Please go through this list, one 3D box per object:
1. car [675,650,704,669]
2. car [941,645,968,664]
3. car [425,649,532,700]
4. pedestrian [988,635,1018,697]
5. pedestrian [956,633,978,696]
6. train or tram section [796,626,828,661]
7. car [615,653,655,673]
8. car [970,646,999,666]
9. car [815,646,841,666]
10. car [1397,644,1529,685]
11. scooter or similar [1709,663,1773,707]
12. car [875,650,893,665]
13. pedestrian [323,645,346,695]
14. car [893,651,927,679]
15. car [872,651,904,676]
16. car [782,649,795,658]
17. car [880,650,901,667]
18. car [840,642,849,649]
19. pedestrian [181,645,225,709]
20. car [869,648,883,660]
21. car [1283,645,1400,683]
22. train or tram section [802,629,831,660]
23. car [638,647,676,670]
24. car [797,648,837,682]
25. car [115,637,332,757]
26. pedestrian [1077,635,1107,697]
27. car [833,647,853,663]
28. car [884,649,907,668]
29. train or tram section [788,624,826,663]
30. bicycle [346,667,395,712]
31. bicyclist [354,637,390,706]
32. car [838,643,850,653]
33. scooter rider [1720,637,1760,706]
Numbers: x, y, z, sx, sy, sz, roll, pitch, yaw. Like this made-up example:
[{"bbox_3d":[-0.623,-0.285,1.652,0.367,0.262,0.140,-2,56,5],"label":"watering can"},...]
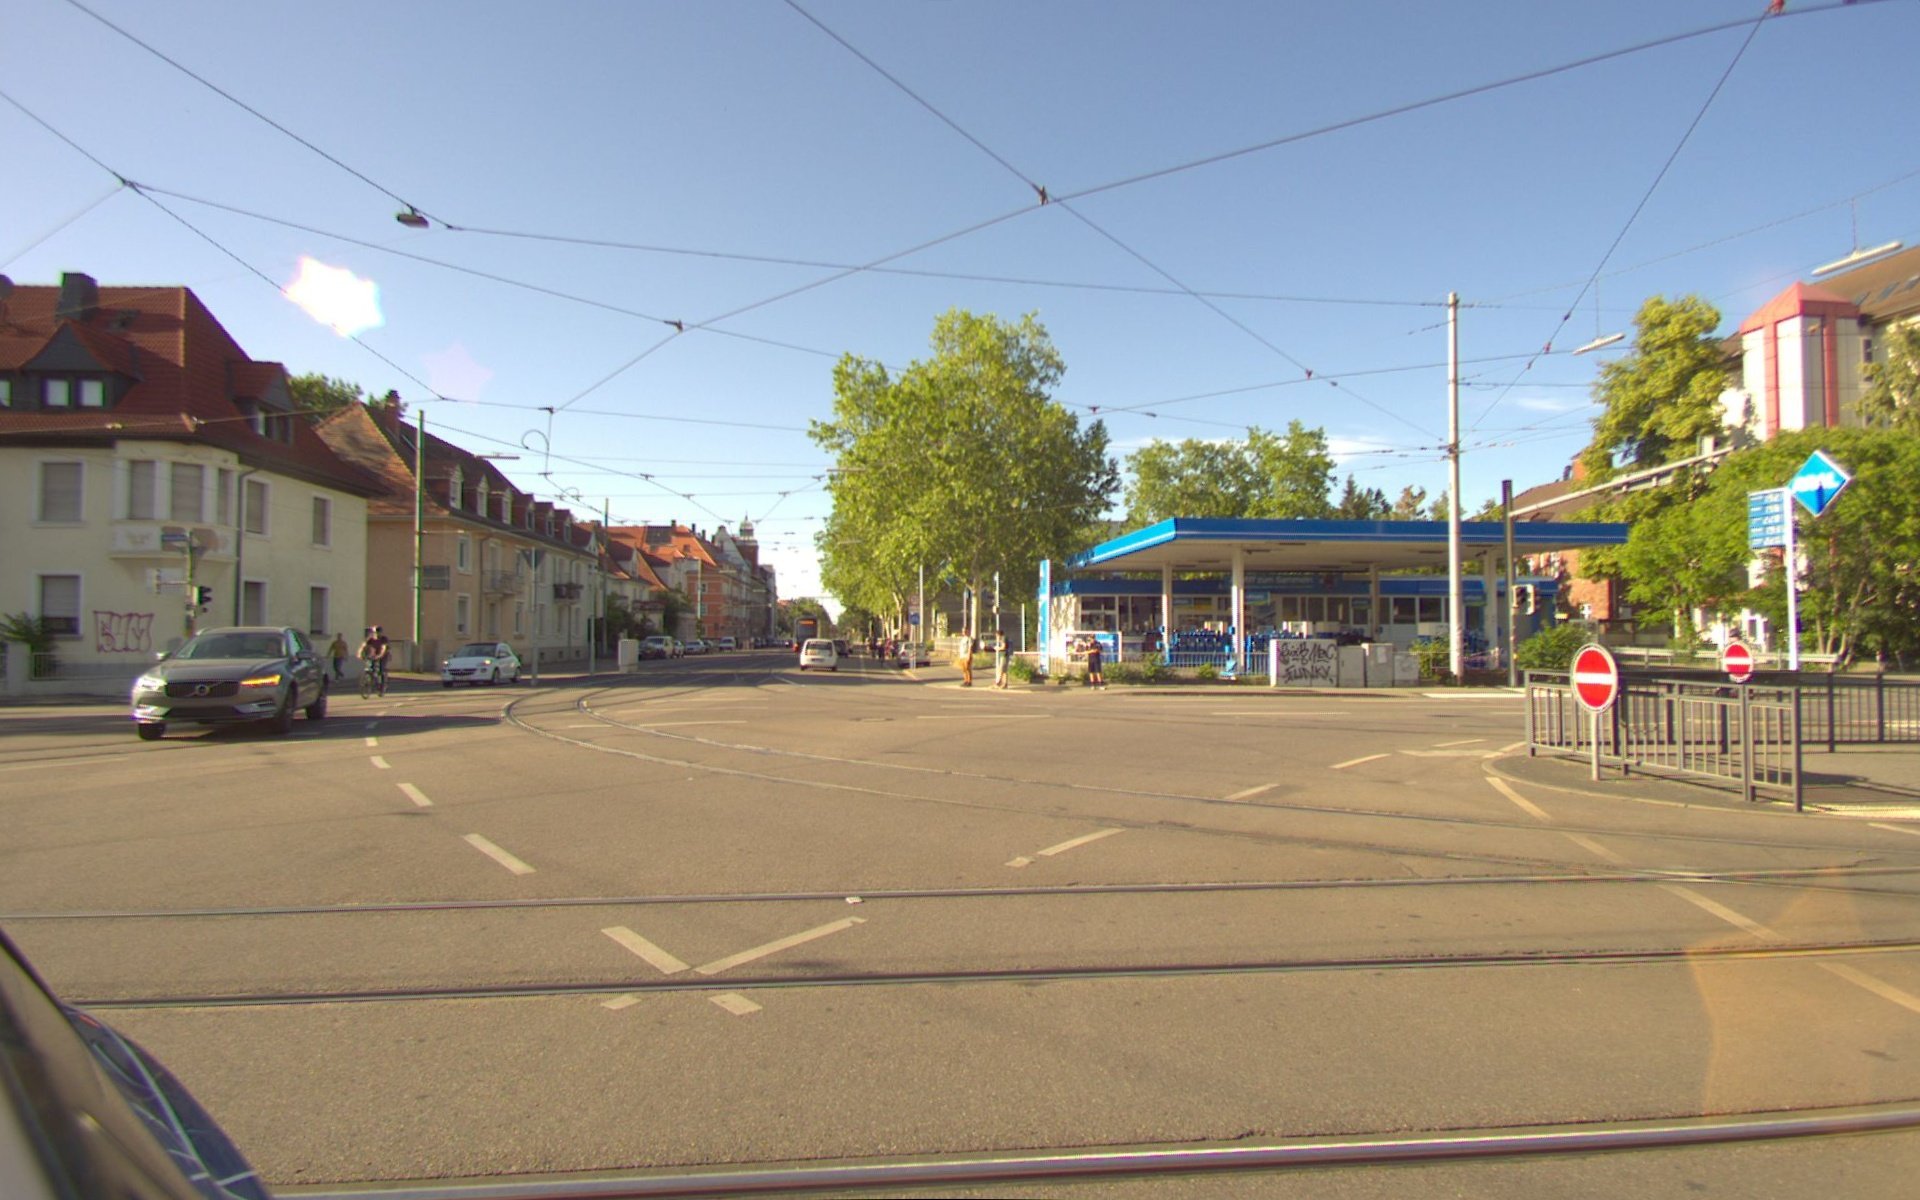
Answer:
[{"bbox_3d":[-26.914,5.890,100.763,1.905,1.774,5.318,0,-3,-5],"label":"car"},{"bbox_3d":[-0.452,4.352,81.157,1.855,1.497,4.003,0,-3,-4],"label":"car"},{"bbox_3d":[-16.616,2.527,35.181,1.889,1.643,4.508,0,-3,-5],"label":"car"},{"bbox_3d":[1.296,1.962,30.328,0.736,1.815,0.736,-1,-3,19],"label":"pedestrian"},{"bbox_3d":[0.216,1.999,31.382,0.622,1.940,0.585,0,-3,-5],"label":"pedestrian"},{"bbox_3d":[-16.304,4.895,112.444,3.018,3.641,12.517,0,-3,-6],"label":"train or tram section"},{"bbox_3d":[-24.525,4.735,76.504,1.856,1.497,4.001,0,-3,-2],"label":"car"},{"bbox_3d":[1.922,4.424,80.462,1.855,1.497,4.003,0,-3,-4],"label":"car"},{"bbox_3d":[-10.515,4.463,81.028,1.855,1.497,4.003,0,-3,-4],"label":"car"},{"bbox_3d":[18.974,2.436,38.246,4.154,1.497,1.719,0,-3,-6],"label":"car"},{"bbox_3d":[21.936,2.386,28.439,1.454,1.191,0.465,0,-3,-4],"label":"scooter or similar"},{"bbox_3d":[-8.035,6.079,107.570,1.855,1.588,4.003,0,-3,-4],"label":"car"},{"bbox_3d":[-22.667,2.532,36.666,0.592,1.774,0.488,1,-3,-22],"label":"pedestrian"},{"bbox_3d":[-2.719,3.570,56.011,1.755,1.436,3.539,-3,-3,-2],"label":"car"},{"bbox_3d":[-4.405,3.882,62.408,1.755,1.436,3.312,-3,-3,-2],"label":"car"},{"bbox_3d":[-28.413,8.841,167.632,1.854,1.497,4.006,1,-3,-7],"label":"car"},{"bbox_3d":[-6.339,5.271,91.726,1.855,1.497,4.003,0,-3,-4],"label":"car"},{"bbox_3d":[-24.302,9.506,212.908,1.855,1.497,4.003,0,-3,-4],"label":"car"},{"bbox_3d":[-21.494,2.168,28.753,0.686,1.753,0.668,2,-3,28],"label":"pedestrian"},{"bbox_3d":[-11.769,7.528,141.697,1.855,1.563,4.003,0,-3,-4],"label":"car"},{"bbox_3d":[15.707,2.620,41.760,4.154,1.497,1.719,0,-3,-6],"label":"car"},{"bbox_3d":[-17.568,5.468,124.613,3.018,3.641,12.129,0,-3,-6],"label":"train or tram section"},{"bbox_3d":[-24.679,4.740,82.582,1.905,1.859,5.318,0,-3,-5],"label":"car"},{"bbox_3d":[-6.662,2.994,47.006,1.695,1.508,3.591,1,-3,-10],"label":"car"},{"bbox_3d":[-11.592,1.439,16.296,1.885,1.643,4.517,1,-3,-24],"label":"car"},{"bbox_3d":[3.835,1.922,29.424,0.739,1.742,0.731,-3,-3,9],"label":"pedestrian"},{"bbox_3d":[-11.722,5.517,101.705,1.855,1.497,4.003,0,-3,-4],"label":"car"},{"bbox_3d":[-5.287,4.724,82.348,1.855,1.497,4.003,0,-3,-4],"label":"car"},{"bbox_3d":[-15.023,4.368,100.204,3.018,3.641,12.128,0,-3,-6],"label":"train or tram section"},{"bbox_3d":[-15.108,2.285,25.986,0.590,1.065,1.996,1,-3,-16],"label":"bicycle"},{"bbox_3d":[-15.097,1.821,26.000,0.590,1.732,0.664,1,-3,-15],"label":"bicyclist"},{"bbox_3d":[-19.334,8.016,168.850,1.855,1.497,4.003,0,-3,-4],"label":"car"},{"bbox_3d":[21.926,2.013,28.455,0.681,1.915,0.465,0,-3,-4],"label":"scooter rider"}]
